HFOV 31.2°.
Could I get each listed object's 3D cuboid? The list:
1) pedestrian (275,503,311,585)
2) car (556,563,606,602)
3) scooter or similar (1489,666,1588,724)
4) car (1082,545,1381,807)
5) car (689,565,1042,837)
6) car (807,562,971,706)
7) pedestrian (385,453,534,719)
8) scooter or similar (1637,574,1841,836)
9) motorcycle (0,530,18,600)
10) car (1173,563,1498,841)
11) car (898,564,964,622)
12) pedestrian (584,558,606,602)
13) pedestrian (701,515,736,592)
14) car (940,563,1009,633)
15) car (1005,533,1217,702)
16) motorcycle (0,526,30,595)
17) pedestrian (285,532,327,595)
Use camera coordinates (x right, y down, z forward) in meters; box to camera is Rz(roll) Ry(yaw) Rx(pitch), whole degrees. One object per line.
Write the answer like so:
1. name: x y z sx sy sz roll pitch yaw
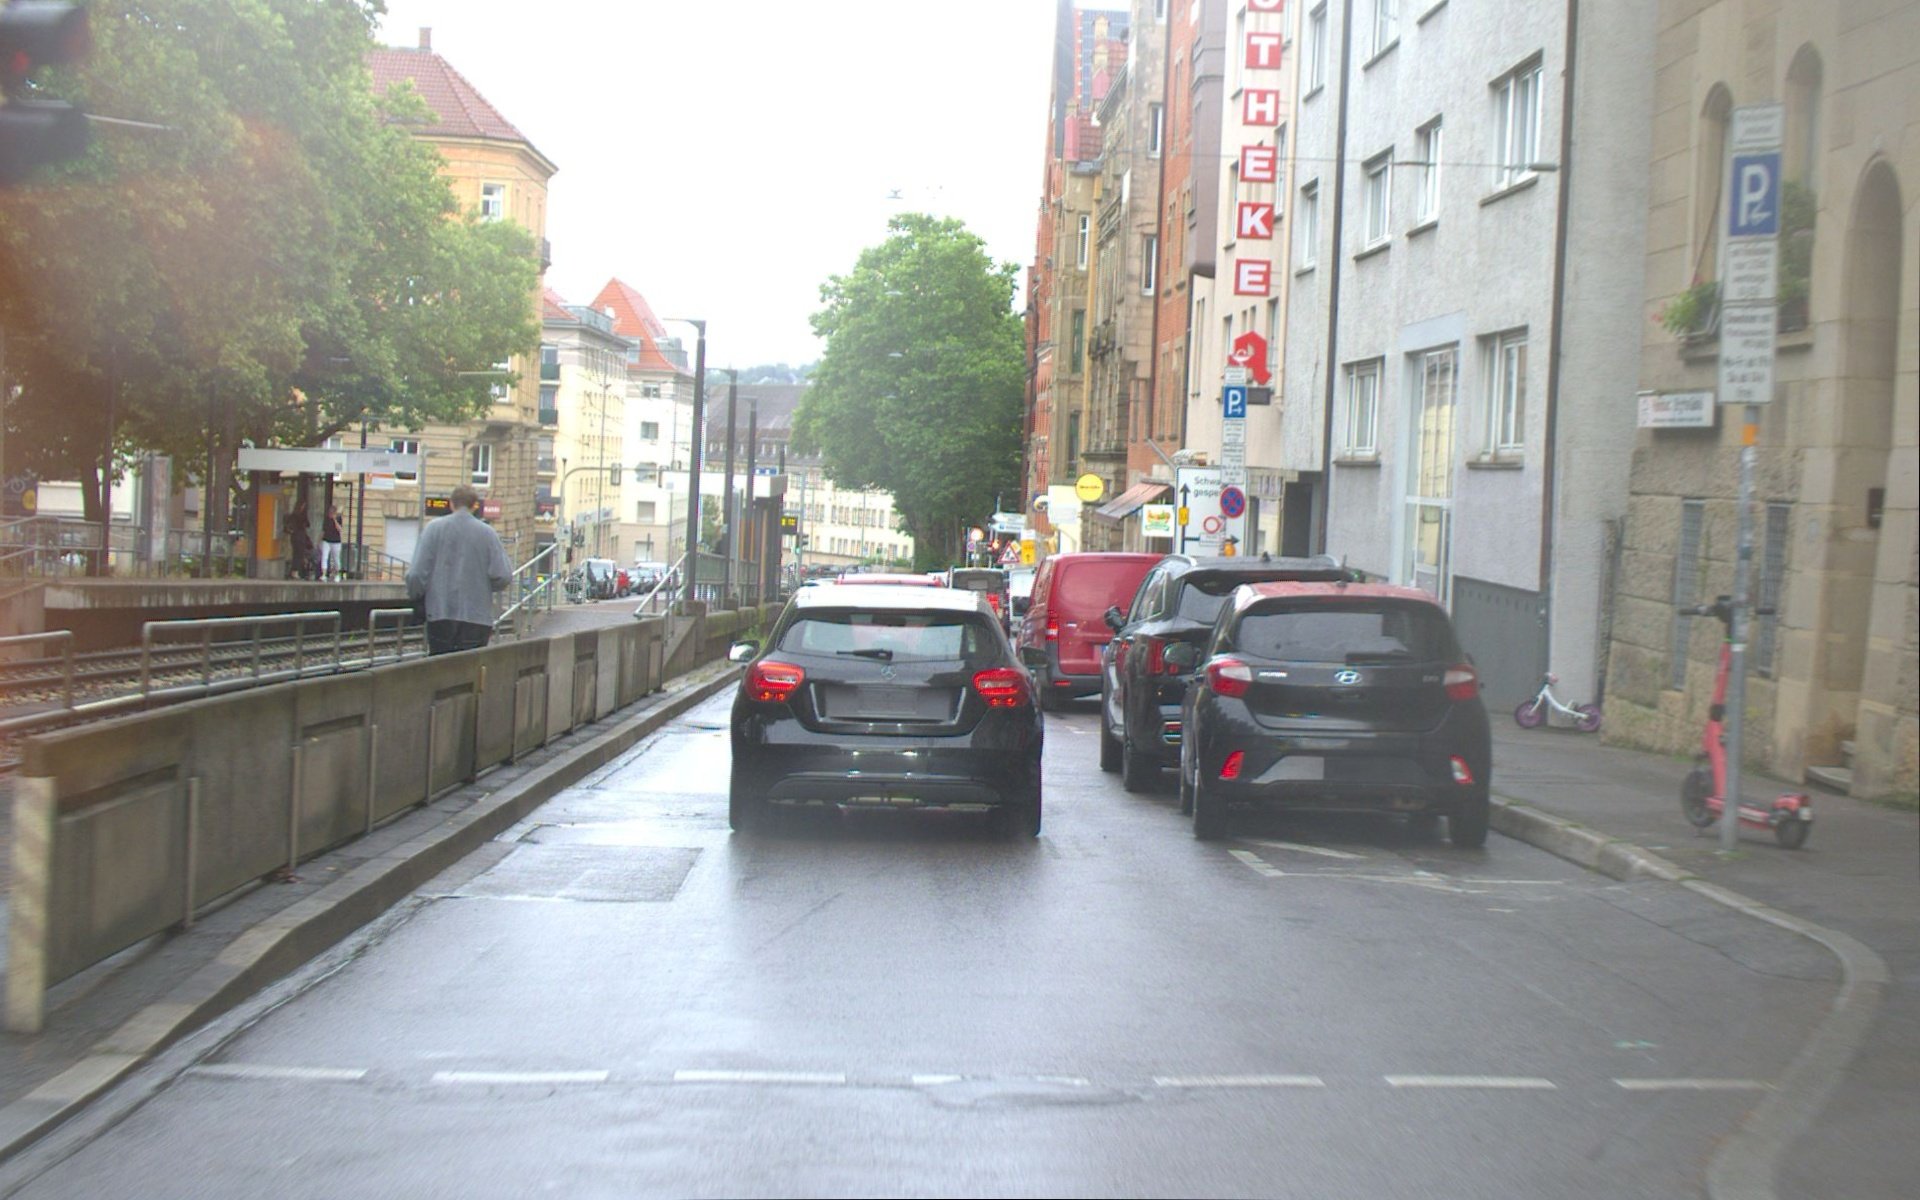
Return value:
1. pedestrian: -14.268 -1.202 73.560 0.562 1.709 0.706 3 1 -3
2. car: -18.278 -0.854 166.060 1.993 1.853 4.000 1 0 -1
3. scooter or similar: 5.378 0.881 31.971 0.859 0.505 0.257 2 0 30
4. car: 1.905 0.474 25.378 1.765 1.702 4.499 2 1 0
5. car: -0.533 0.534 20.773 1.894 1.385 4.000 1 1 0
6. car: -0.839 0.344 38.506 1.679 1.484 3.613 2 0 -3
7. pedestrian: -3.486 -0.100 23.989 0.859 1.793 0.787 3 1 -2
8. scooter or similar: 4.065 0.539 18.034 0.366 1.311 1.568 0 -1 -14
9. motorcycle: -23.638 -0.883 78.625 3.863 1.600 1.006 3 0 -2
10. car: 2.185 0.541 20.806 1.661 1.447 3.609 3 1 3
11. car: -0.997 -0.257 116.482 1.933 1.825 4.281 2 1 -4
12. pedestrian: -14.555 -0.810 137.168 0.761 1.744 0.645 2 1 0
13. pedestrian: -5.062 -0.973 71.977 0.496 1.599 0.636 2 0 15
14. car: 0.411 -0.065 101.034 1.921 1.929 4.685 2 0 0
15. car: 1.731 0.182 41.220 1.974 1.832 5.246 2 0 -3
16. motorcycle: -23.824 -0.992 81.764 3.058 1.622 1.006 3 0 -2
17. pedestrian: -14.557 -0.806 76.504 0.777 1.358 0.564 3 1 -3
